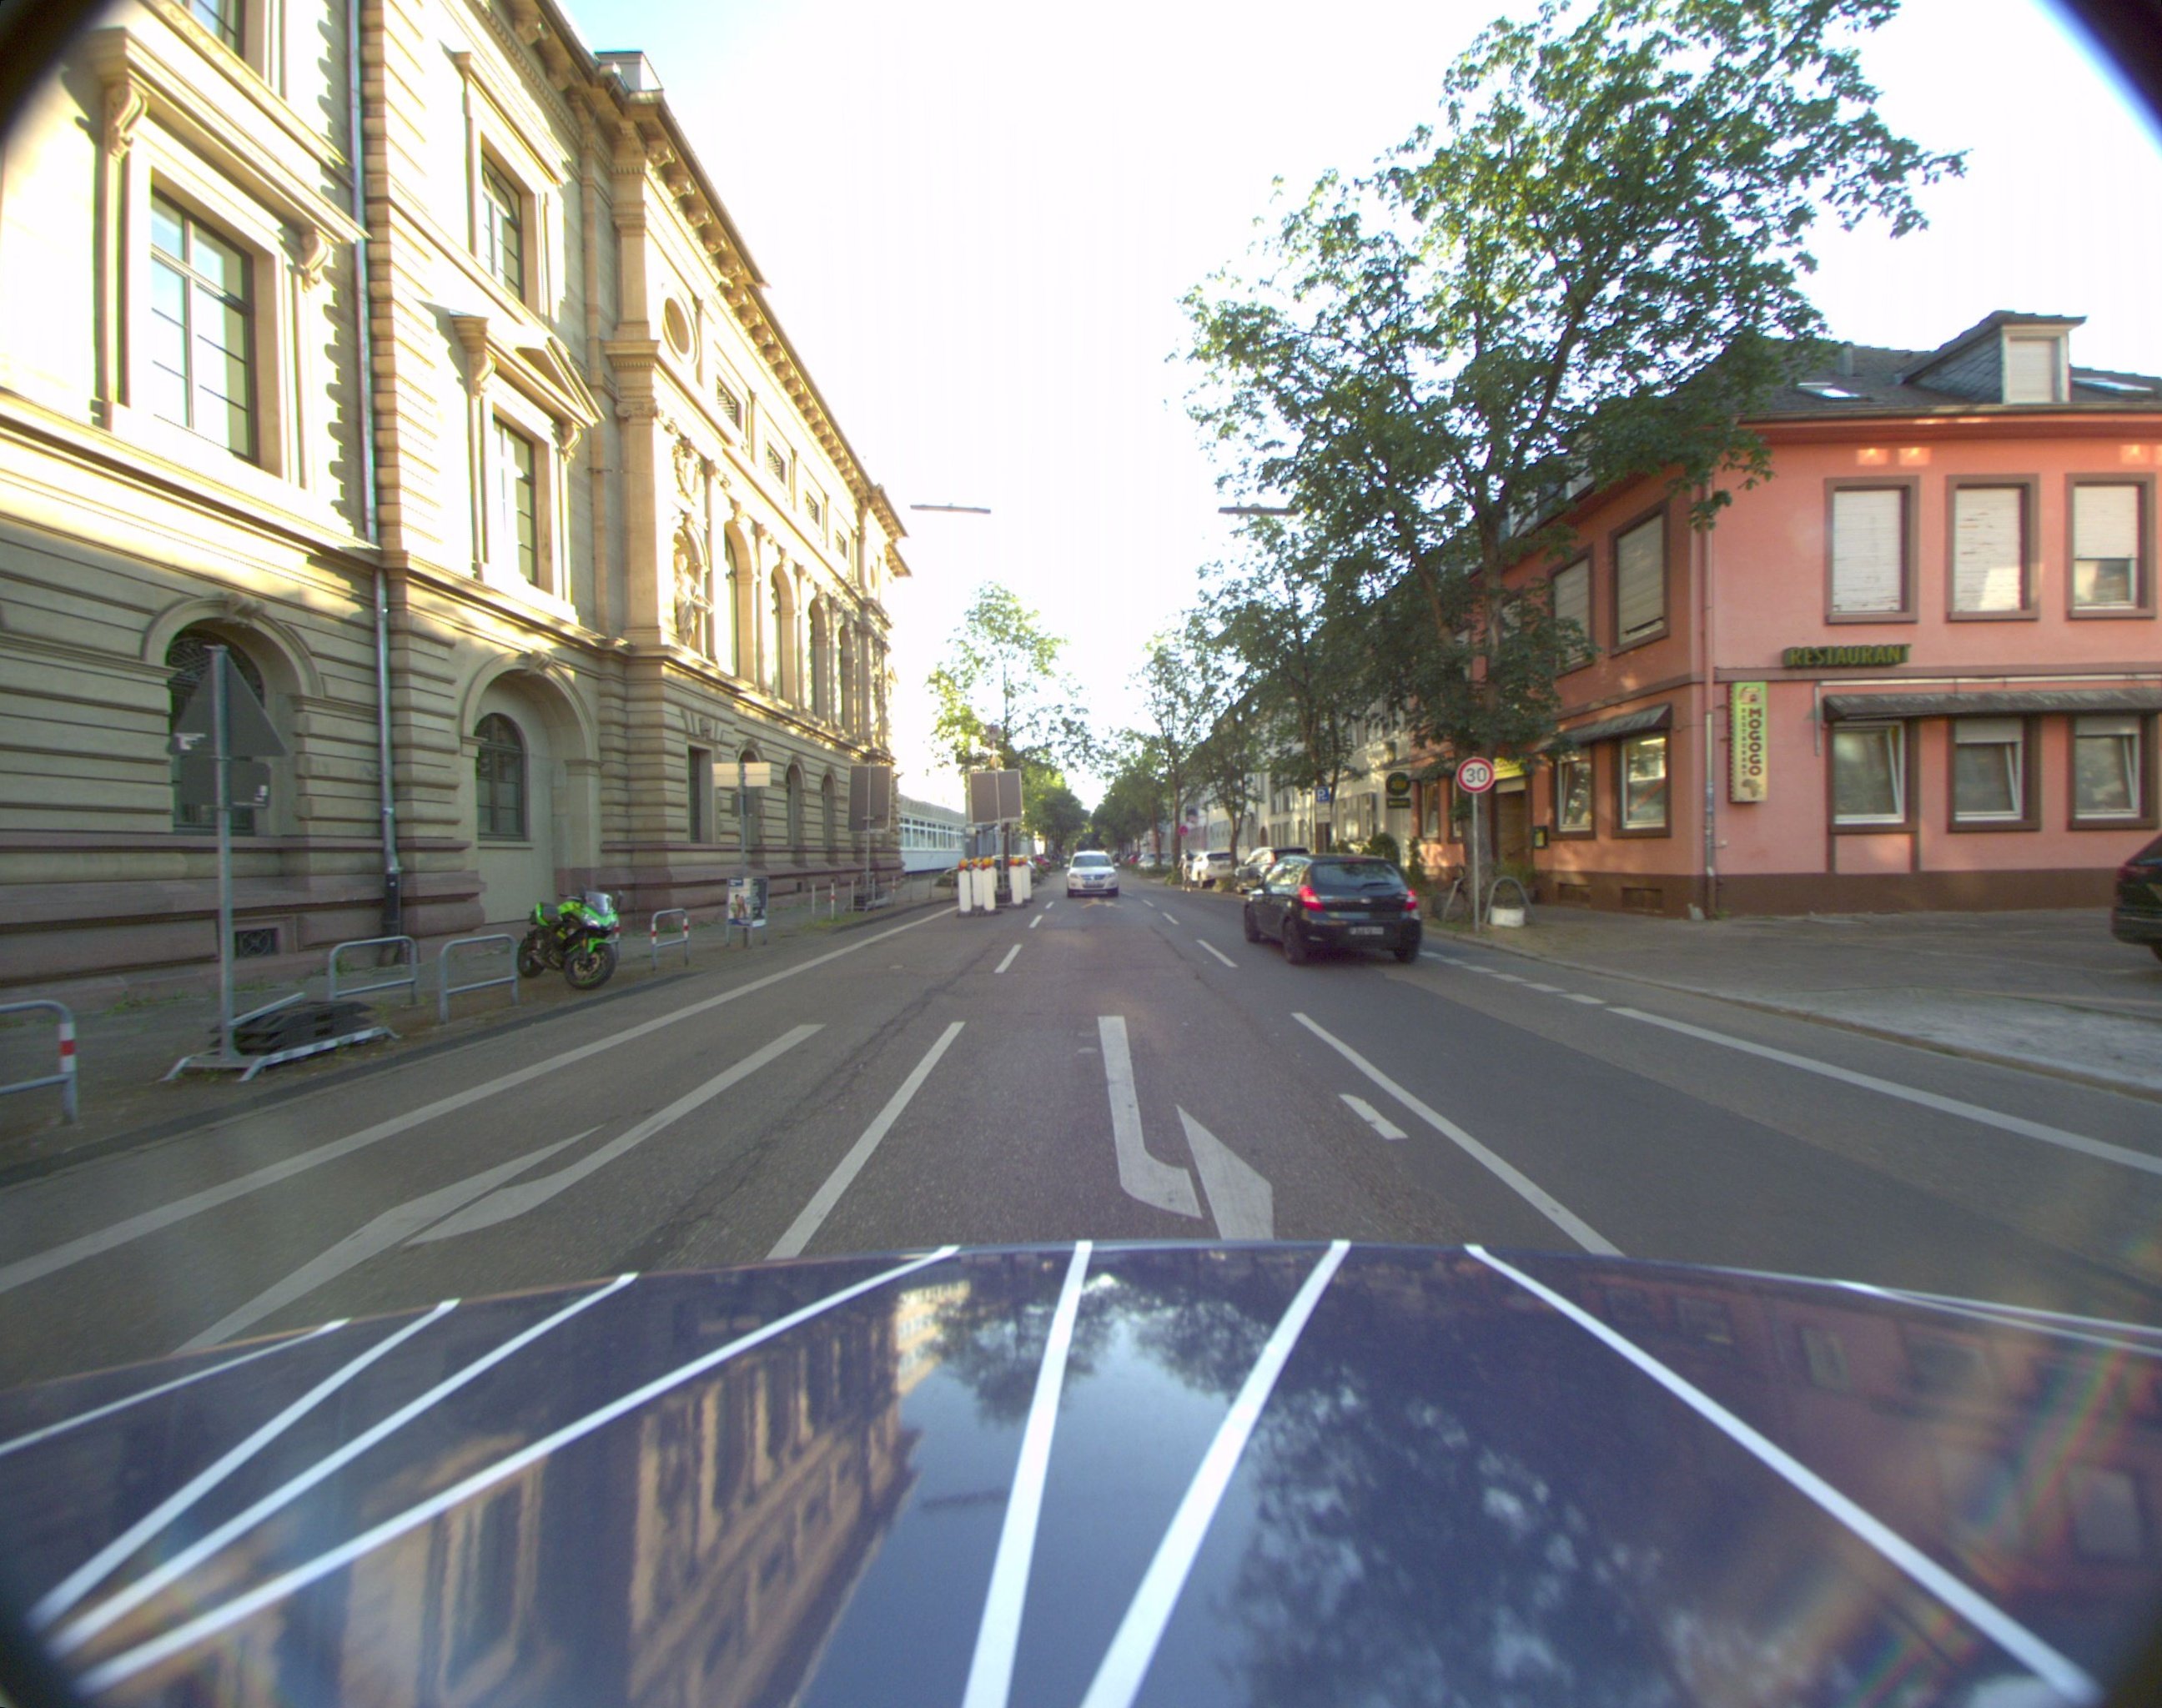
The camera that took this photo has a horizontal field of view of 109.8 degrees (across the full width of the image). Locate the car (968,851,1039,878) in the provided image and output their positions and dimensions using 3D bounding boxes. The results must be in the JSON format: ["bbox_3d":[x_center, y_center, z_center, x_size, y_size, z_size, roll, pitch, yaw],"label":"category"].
[{"bbox_3d":[-4.943,0.667,48.718,4.369,1.633,2.054,1,1,-2],"label":"car"}]

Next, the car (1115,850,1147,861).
[{"bbox_3d":[6.865,0.181,105.427,4.230,1.468,1.853,-1,1,-2],"label":"car"}]

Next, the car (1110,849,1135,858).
[{"bbox_3d":[7.237,-0.170,131.890,4.230,1.468,1.969,-1,1,-2],"label":"car"}]

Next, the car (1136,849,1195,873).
[{"bbox_3d":[6.348,0.507,57.564,4.230,1.680,1.800,-1,1,-2],"label":"car"}]

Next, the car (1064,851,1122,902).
[{"bbox_3d":[0.434,0.741,27.948,1.957,1.667,4.542,-1,0,1],"label":"car"}]

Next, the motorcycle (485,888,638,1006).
[{"bbox_3d":[-6.391,1.079,9.317,2.098,1.208,0.711,1,1,30],"label":"motorcycle"}]

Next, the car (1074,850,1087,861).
[{"bbox_3d":[-0.085,0.215,112.274,1.951,1.546,3.999,-1,0,-1],"label":"car"}]

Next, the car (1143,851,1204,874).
[{"bbox_3d":[6.645,0.578,54.828,4.228,1.536,1.801,-1,1,3],"label":"car"}]

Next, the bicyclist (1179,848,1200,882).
[{"bbox_3d":[4.527,0.460,31.680,0.627,1.357,0.928,-1,2,-6],"label":"bicyclist"}]

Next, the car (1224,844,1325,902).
[{"bbox_3d":[6.867,0.612,27.653,1.833,1.749,5.045,-5,1,-6],"label":"car"}]

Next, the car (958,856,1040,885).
[{"bbox_3d":[-4.512,0.887,42.252,4.368,1.487,1.672,1,1,0],"label":"car"}]

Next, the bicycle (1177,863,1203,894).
[{"bbox_3d":[4.535,1.009,31.699,0.626,1.149,2.051,-1,2,-5],"label":"bicycle"}]

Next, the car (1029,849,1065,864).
[{"bbox_3d":[-4.226,0.278,94.202,4.369,1.862,1.733,0,1,-2],"label":"car"}]

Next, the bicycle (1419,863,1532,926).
[{"bbox_3d":[7.530,0.759,14.524,1.872,1.098,0.610,-2,1,-6],"label":"bicycle"}]

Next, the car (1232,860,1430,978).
[{"bbox_3d":[3.523,0.830,11.446,1.662,1.463,3.853,0,0,-1],"label":"car"}]

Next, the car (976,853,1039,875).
[{"bbox_3d":[-5.223,0.699,54.634,4.369,1.485,1.886,0,1,-2],"label":"car"}]

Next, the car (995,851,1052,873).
[{"bbox_3d":[-4.444,0.622,59.640,4.369,1.615,1.733,1,1,-2],"label":"car"}]

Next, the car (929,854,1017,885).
[{"bbox_3d":[-5.596,0.789,39.630,4.369,1.456,1.833,1,1,-4],"label":"car"}]

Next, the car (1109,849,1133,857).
[{"bbox_3d":[7.376,-0.177,140.374,4.230,1.508,1.969,-1,1,-2],"label":"car"}]

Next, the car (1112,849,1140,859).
[{"bbox_3d":[6.968,0.024,117.897,4.230,1.468,1.969,-1,1,-2],"label":"car"}]

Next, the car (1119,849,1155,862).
[{"bbox_3d":[6.985,0.215,94.618,4.230,1.509,1.759,-1,1,-2],"label":"car"}]

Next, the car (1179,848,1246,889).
[{"bbox_3d":[6.153,0.622,36.088,1.833,1.658,4.654,-5,1,-6],"label":"car"}]

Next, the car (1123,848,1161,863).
[{"bbox_3d":[7.182,0.182,89.961,4.230,1.654,1.800,-1,1,-2],"label":"car"}]

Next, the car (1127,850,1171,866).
[{"bbox_3d":[6.741,0.433,75.745,4.230,1.499,1.800,-1,1,-2],"label":"car"}]

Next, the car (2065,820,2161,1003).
[{"bbox_3d":[12.053,0.425,6.666,4.430,1.655,1.863,-3,0,-1],"label":"car"}]

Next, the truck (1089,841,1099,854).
[{"bbox_3d":[3.753,-1.886,221.891,2.748,3.723,7.855,-1,1,2],"label":"truck"}]

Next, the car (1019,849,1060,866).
[{"bbox_3d":[-4.472,0.410,82.561,4.369,1.768,1.733,1,1,-2],"label":"car"}]
